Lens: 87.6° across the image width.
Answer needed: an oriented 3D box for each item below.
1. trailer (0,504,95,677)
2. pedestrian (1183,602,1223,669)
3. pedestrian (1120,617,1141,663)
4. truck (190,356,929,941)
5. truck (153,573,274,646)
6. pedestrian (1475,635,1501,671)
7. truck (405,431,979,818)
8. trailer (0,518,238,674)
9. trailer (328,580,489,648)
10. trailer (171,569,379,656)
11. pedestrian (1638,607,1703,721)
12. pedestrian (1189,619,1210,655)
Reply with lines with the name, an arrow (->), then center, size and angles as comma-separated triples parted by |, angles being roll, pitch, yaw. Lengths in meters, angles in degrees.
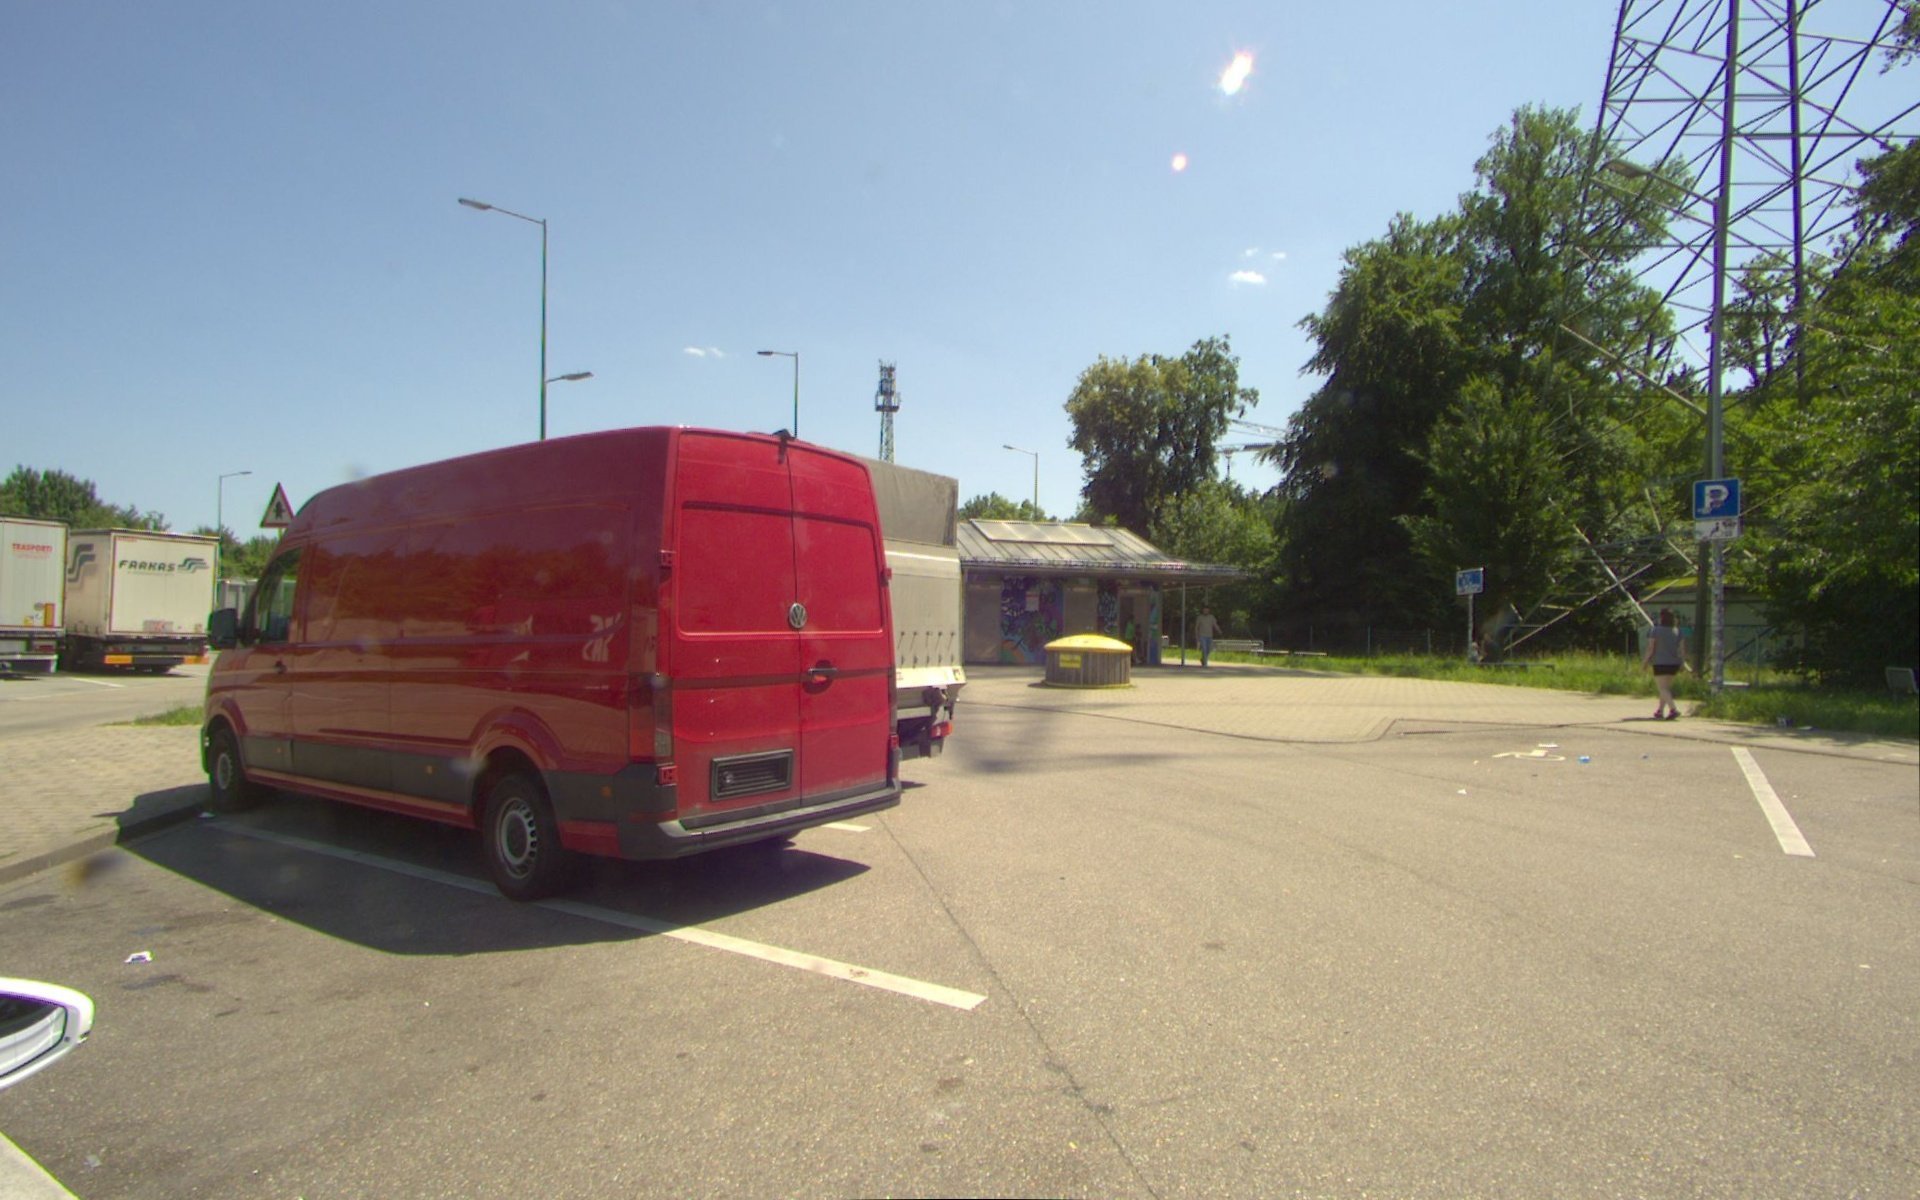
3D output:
trailer -> -28.679, -0.339, 28.008 | 13.561, 4.162, 2.854 | 1, -2, 32
pedestrian -> 7.138, 1.055, 29.482 | 0.799, 1.929, 0.920 | 0, -1, -15
pedestrian -> 5.229, 1.229, 30.767 | 0.532, 1.392, 0.583 | 0, -1, 0
truck -> -3.329, 0.297, 7.324 | 6.372, 2.685, 2.005 | -1, -2, 37
truck -> -37.540, 0.477, 50.309 | 5.887, 3.406, 2.862 | 1, -2, 32
pedestrian -> 14.652, 1.479, 27.804 | 0.439, 0.987, 0.460 | 0, -1, -19
truck -> -3.078, 0.269, 10.508 | 6.372, 2.944, 2.411 | -1, -2, 37
trailer -> -27.606, -0.167, 31.596 | 13.561, 4.162, 2.854 | 1, -2, 32
trailer -> -36.161, 0.845, 65.325 | 13.561, 3.955, 2.854 | 1, -2, 32
trailer -> -32.468, 0.485, 47.086 | 13.561, 3.646, 2.854 | 1, -2, 32
pedestrian -> 10.785, 0.962, 15.228 | 0.676, 1.670, 0.713 | -1, -1, 26
pedestrian -> 11.114, 1.726, 46.523 | 0.798, 1.639, 0.921 | 0, -1, 5
